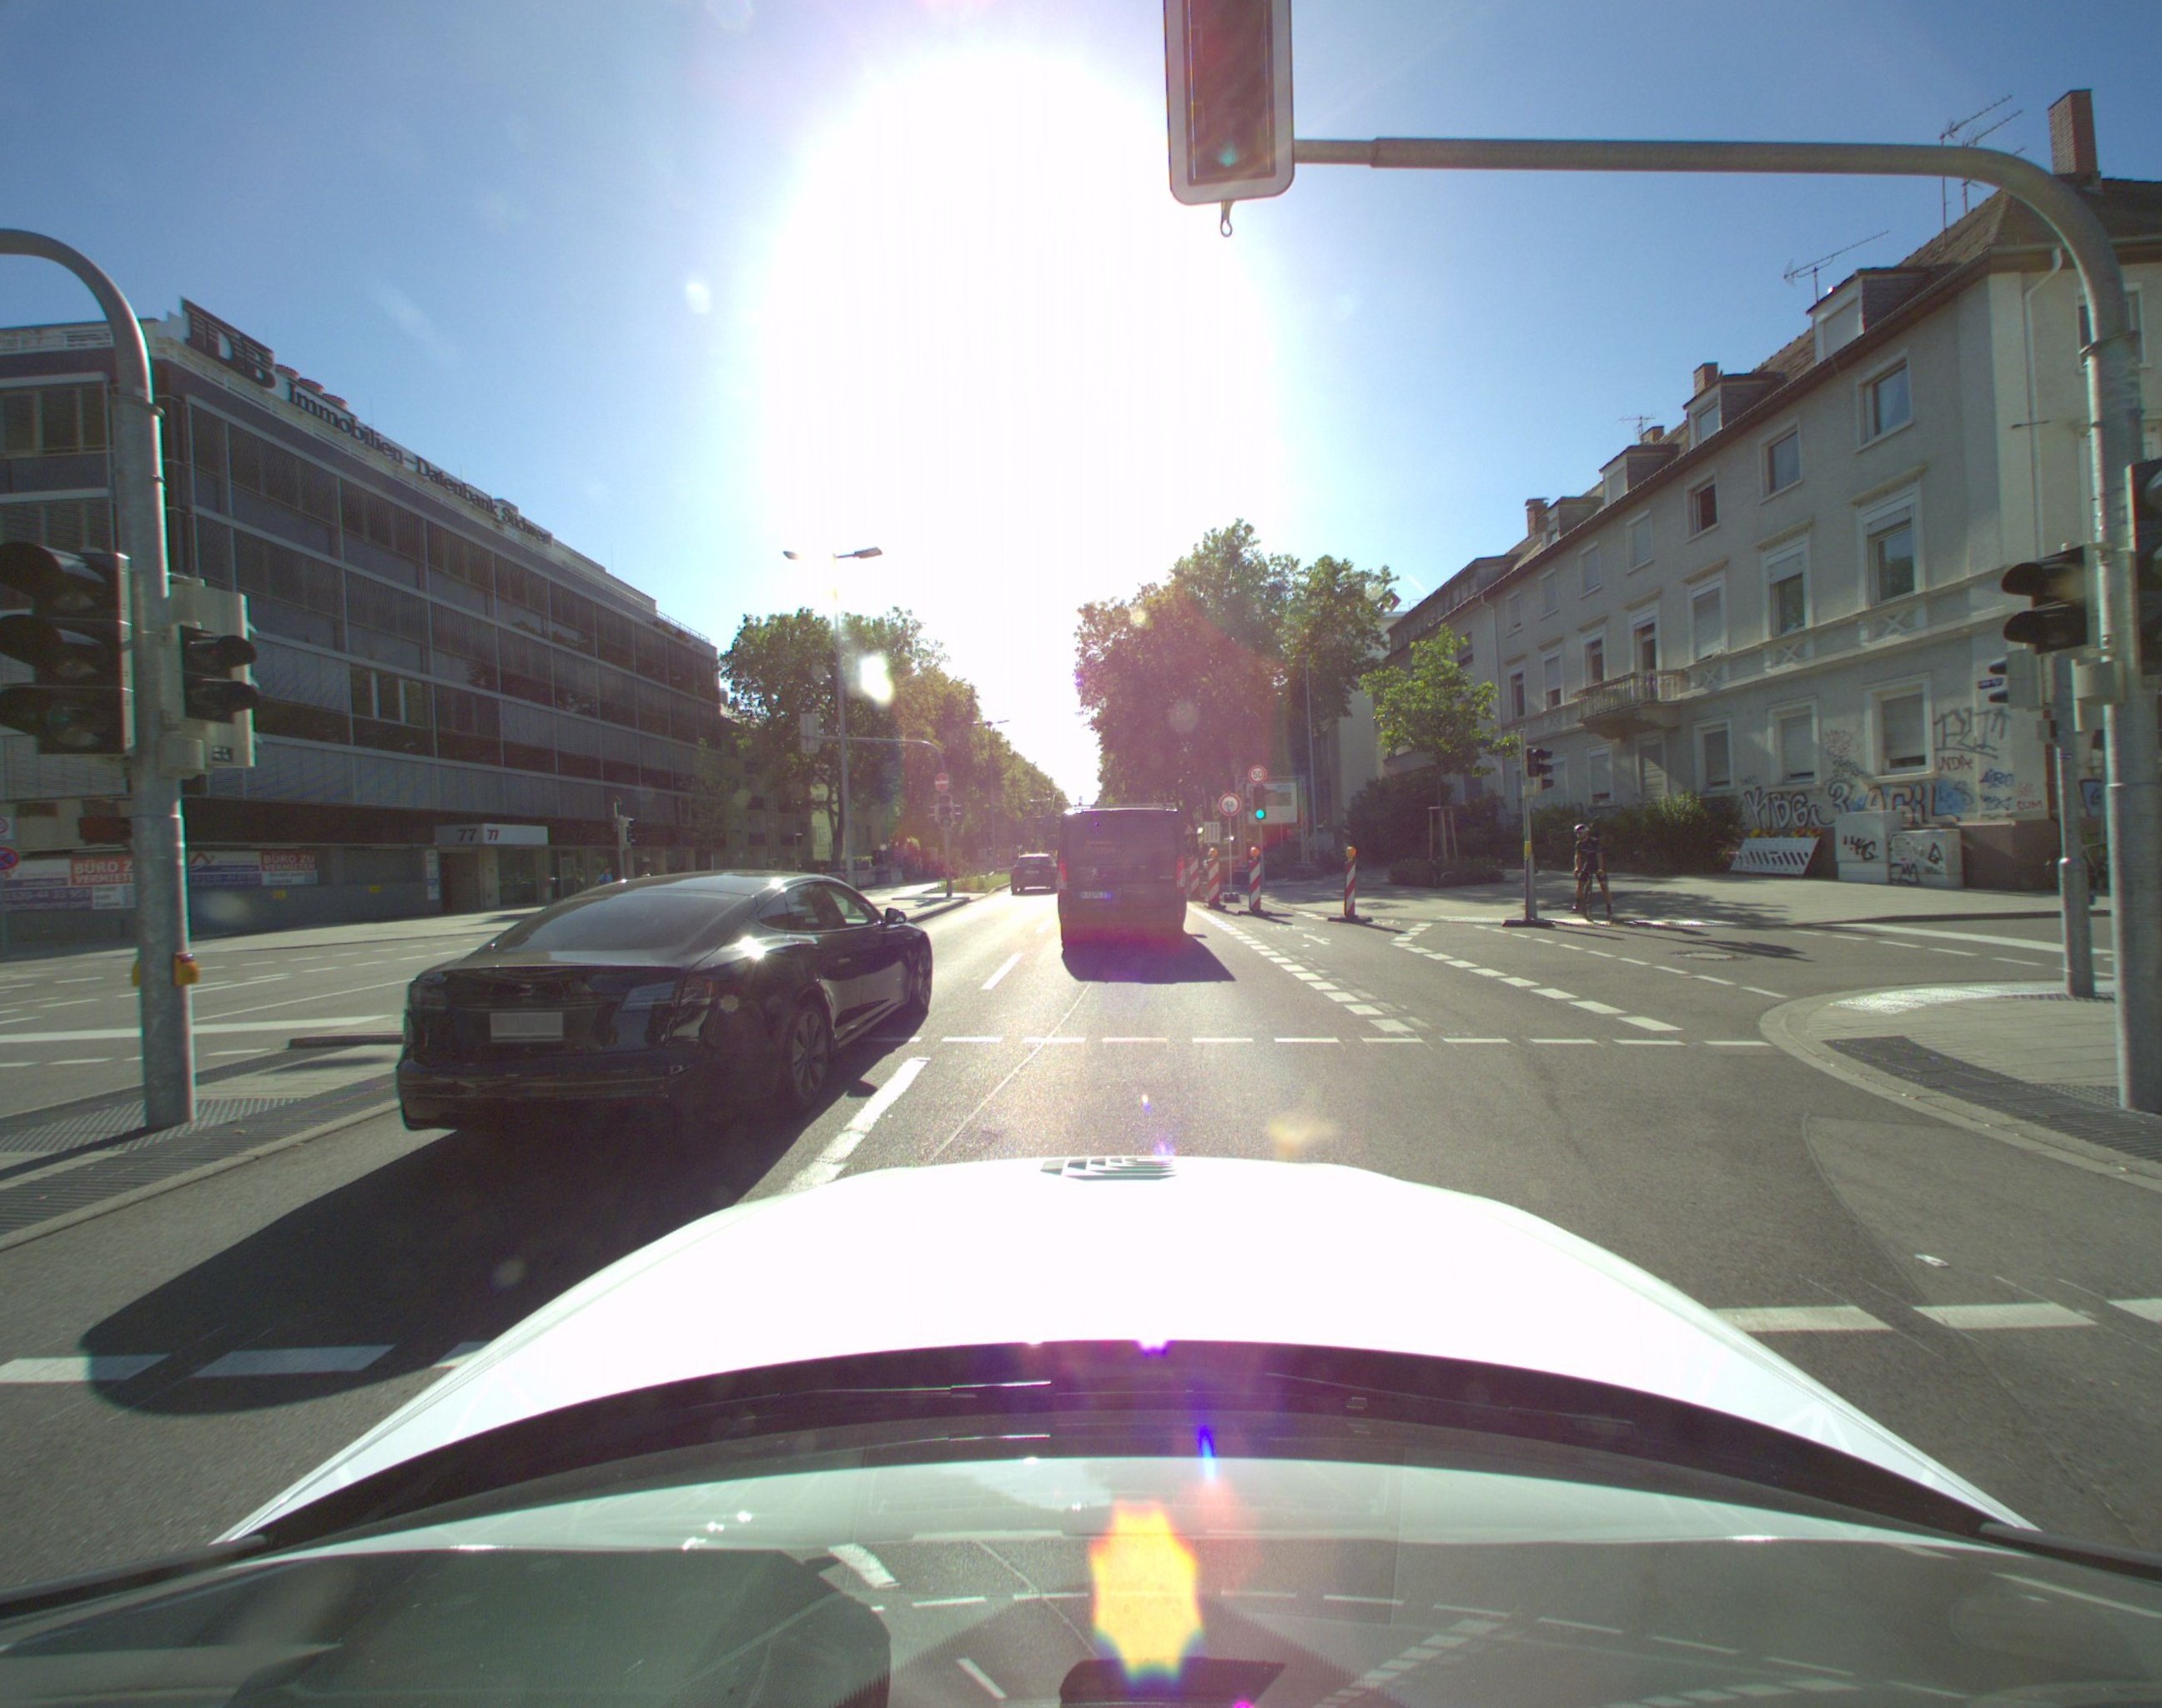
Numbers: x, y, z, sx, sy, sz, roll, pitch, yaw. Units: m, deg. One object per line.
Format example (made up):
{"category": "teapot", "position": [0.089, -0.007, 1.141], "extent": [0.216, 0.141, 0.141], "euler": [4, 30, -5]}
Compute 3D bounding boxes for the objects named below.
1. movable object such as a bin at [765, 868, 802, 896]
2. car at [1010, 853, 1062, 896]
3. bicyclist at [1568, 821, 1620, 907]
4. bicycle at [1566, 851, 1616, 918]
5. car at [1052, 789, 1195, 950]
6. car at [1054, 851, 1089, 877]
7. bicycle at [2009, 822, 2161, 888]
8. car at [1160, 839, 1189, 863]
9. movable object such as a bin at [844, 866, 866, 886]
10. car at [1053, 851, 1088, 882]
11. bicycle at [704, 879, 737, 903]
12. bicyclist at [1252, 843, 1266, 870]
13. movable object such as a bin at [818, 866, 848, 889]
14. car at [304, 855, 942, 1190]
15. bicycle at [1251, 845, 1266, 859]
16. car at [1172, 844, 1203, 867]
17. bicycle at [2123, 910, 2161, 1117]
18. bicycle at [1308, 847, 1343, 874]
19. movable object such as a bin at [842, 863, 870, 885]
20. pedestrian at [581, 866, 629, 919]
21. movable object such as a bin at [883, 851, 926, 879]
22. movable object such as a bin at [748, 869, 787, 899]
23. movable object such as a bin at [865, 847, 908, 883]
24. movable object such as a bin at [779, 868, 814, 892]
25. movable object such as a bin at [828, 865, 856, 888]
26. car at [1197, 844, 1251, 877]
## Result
{"category": "movable object such as a bin", "position": [-16.150, 1.496, 44.261], "extent": [1.209, 1.388, 1.857], "euler": [-2, 0, 3]}
{"category": "car", "position": [-1.678, 0.735, 31.329], "extent": [1.740, 1.407, 4.000], "euler": [-1, 2, 0]}
{"category": "bicyclist", "position": [9.224, 0.171, 14.681], "extent": [0.716, 1.499, 0.877], "euler": [-3, 0, 31]}
{"category": "bicycle", "position": [9.225, 0.523, 14.763], "extent": [0.682, 1.098, 1.698], "euler": [-2, 0, 31]}
{"category": "car", "position": [0.671, 0.203, 14.268], "extent": [2.088, 2.355, 3.934], "euler": [-2, 1, 1]}
{"category": "car", "position": [-0.559, 0.586, 51.441], "extent": [1.903, 1.444, 4.605], "euler": [-2, 0, 2]}
{"category": "bicycle", "position": [18.101, 0.015, 14.684], "extent": [1.988, 1.080, 0.579], "euler": [-2, 0, 3]}
{"category": "car", "position": [8.213, -0.279, 71.830], "extent": [2.018, 1.946, 5.274], "euler": [-3, 0, 1]}
{"category": "movable object such as a bin", "position": [-15.145, 1.464, 54.679], "extent": [0.976, 1.270, 1.541], "euler": [-2, 0, 1]}
{"category": "car", "position": [-0.524, 0.628, 43.330], "extent": [1.740, 1.407, 4.000], "euler": [-1, 2, 0]}
{"category": "bicycle", "position": [-17.434, 1.776, 39.409], "extent": [0.624, 1.037, 1.880], "euler": [-2, 0, 3]}
{"category": "bicyclist", "position": [12.602, 0.159, 57.594], "extent": [0.721, 1.820, 1.071], "euler": [-2, 0, 2]}
{"category": "movable object such as a bin", "position": [-15.582, 1.466, 51.263], "extent": [1.404, 1.338, 1.158], "euler": [-2, 0, 3]}
{"category": "car", "position": [-2.501, 0.782, 6.044], "extent": [1.917, 1.412, 4.628], "euler": [-2, 0, 2]}
{"category": "bicycle", "position": [12.567, -0.159, 57.670], "extent": [0.779, 0.966, 1.825], "euler": [-2, 0, 4]}
{"category": "car", "position": [7.838, 0.098, 60.151], "extent": [1.757, 1.508, 4.252], "euler": [-2, 0, 2]}
{"category": "bicycle", "position": [6.401, 0.792, 3.933], "extent": [1.955, 1.025, 0.605], "euler": [-1, 1, 0]}
{"category": "bicycle", "position": [9.674, 0.250, 32.160], "extent": [0.581, 1.005, 2.145], "euler": [-2, 0, 36]}
{"category": "movable object such as a bin", "position": [-15.608, 1.362, 56.510], "extent": [1.638, 1.422, 1.253], "euler": [-3, 0, -24]}
{"category": "pedestrian", "position": [-16.065, 1.279, 27.515], "extent": [0.860, 1.710, 1.015], "euler": [-3, 0, 9]}
{"category": "movable object such as a bin", "position": [-15.318, 0.915, 70.987], "extent": [1.985, 2.278, 5.605], "euler": [-4, 0, 4]}
{"category": "movable object such as a bin", "position": [-16.125, 1.540, 41.923], "extent": [1.109, 1.388, 1.857], "euler": [-2, 0, 3]}
{"category": "movable object such as a bin", "position": [-15.402, 0.835, 64.803], "extent": [2.140, 2.706, 5.352], "euler": [-2, 0, -1]}
{"category": "movable object such as a bin", "position": [-16.060, 1.463, 45.999], "extent": [1.388, 1.203, 1.243], "euler": [-2, 0, 4]}
{"category": "movable object such as a bin", "position": [-15.359, 1.440, 52.345], "extent": [1.404, 1.338, 0.937], "euler": [-2, 0, 3]}
{"category": "car", "position": [7.109, 0.289, 40.927], "extent": [1.846, 1.479, 4.942], "euler": [-2, 0, 0]}
